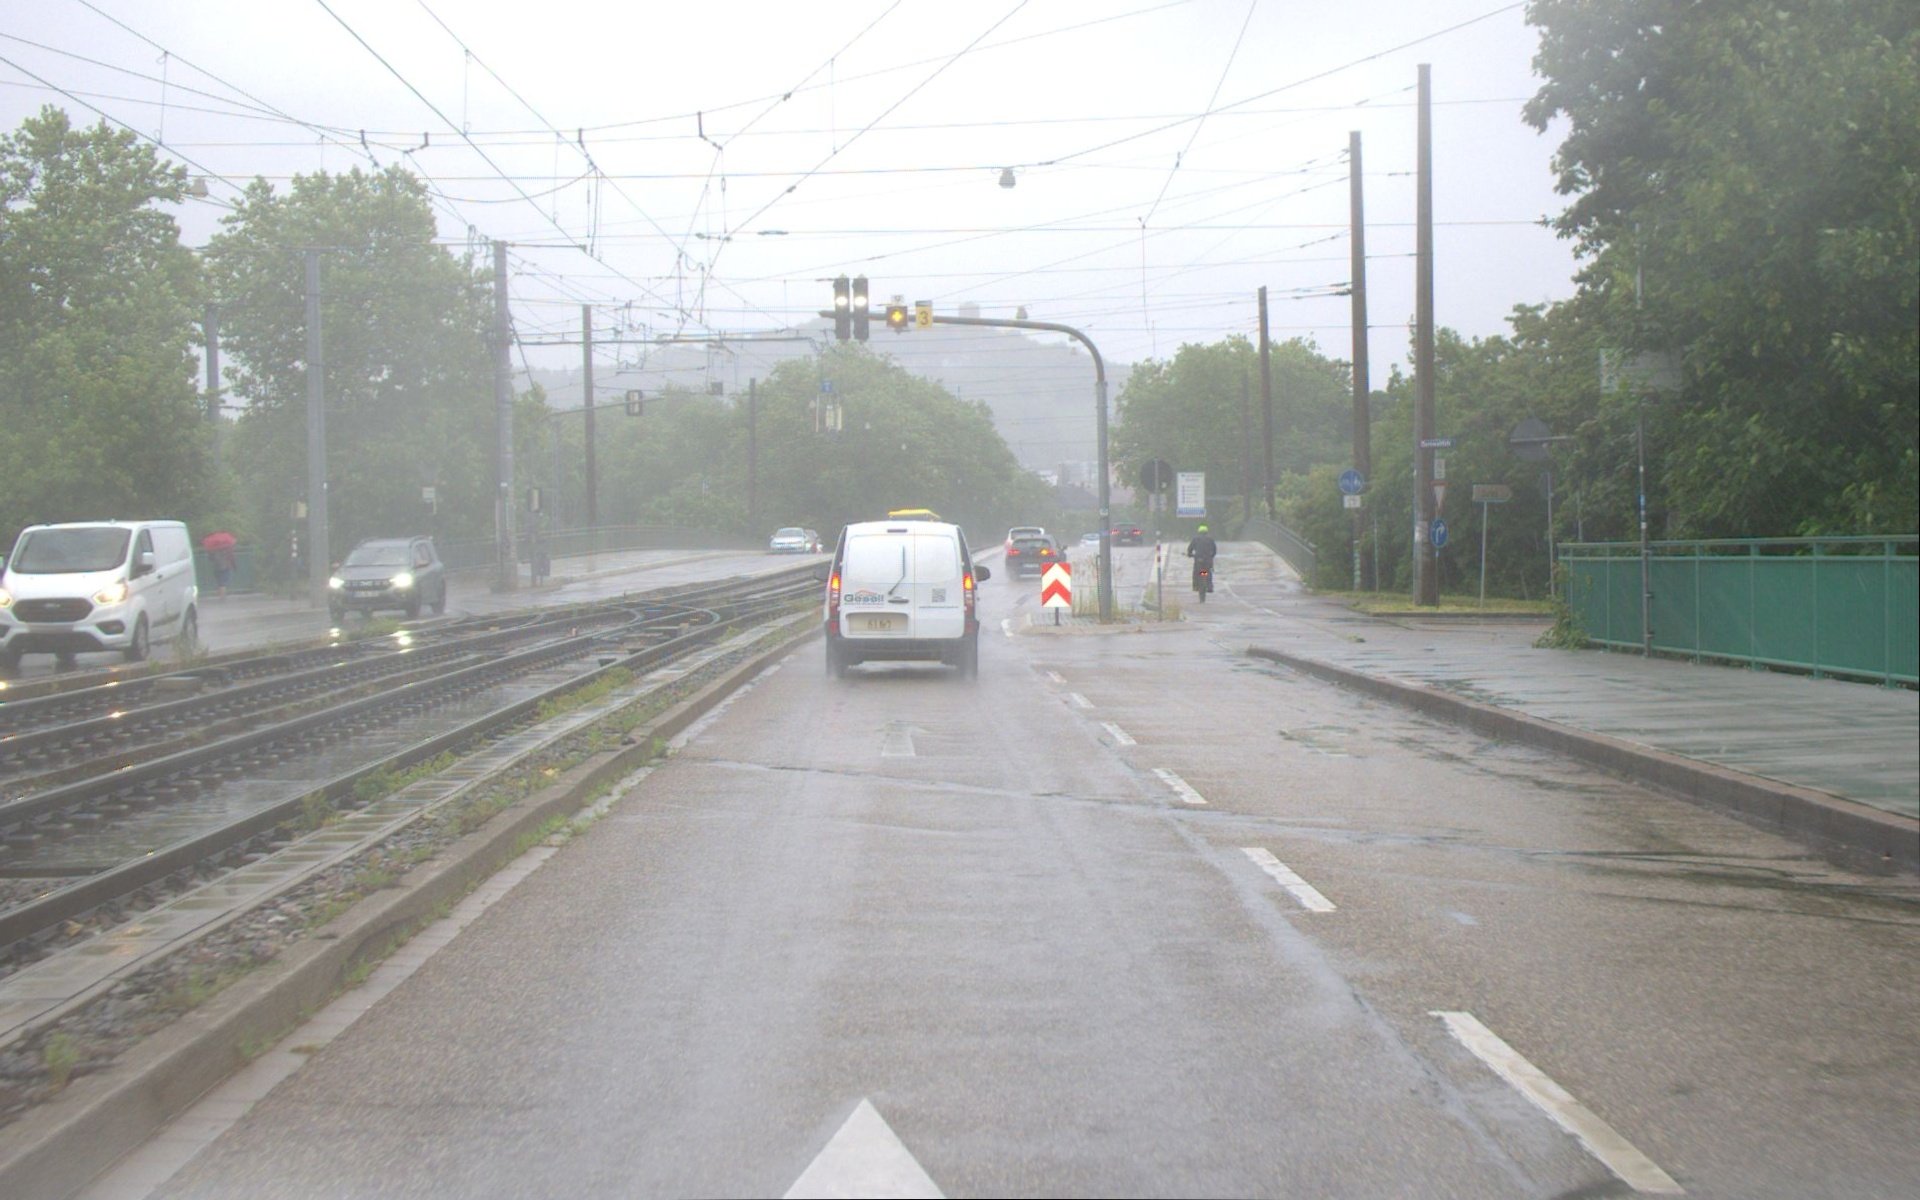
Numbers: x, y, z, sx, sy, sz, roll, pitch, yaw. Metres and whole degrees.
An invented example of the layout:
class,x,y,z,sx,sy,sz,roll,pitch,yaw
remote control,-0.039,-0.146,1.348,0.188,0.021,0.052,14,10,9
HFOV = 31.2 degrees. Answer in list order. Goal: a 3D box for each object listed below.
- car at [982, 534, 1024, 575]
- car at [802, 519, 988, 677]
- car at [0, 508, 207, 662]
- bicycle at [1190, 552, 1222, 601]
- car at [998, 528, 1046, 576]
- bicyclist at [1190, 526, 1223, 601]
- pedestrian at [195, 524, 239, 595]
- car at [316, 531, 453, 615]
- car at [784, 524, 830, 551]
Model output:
class,x,y,z,sx,sy,sz,roll,pitch,yaw
car,1.580,-1.684,127.200,1.451,1.494,2.982,1,0,-1
car,-0.706,-0.040,40.143,1.993,1.720,4.000,1,0,1
car,-12.129,-0.248,48.442,1.993,2.037,5.028,1,1,-1
bicycle,5.789,-0.565,81.047,0.723,1.125,2.167,1,1,4
car,1.987,-1.548,111.222,1.451,1.494,2.982,1,0,-1
bicyclist,5.805,-0.856,80.979,0.725,1.758,0.949,1,0,4
pedestrian,-19.184,-1.040,88.764,0.864,1.812,1.043,1,0,2
car,-11.812,-0.581,70.874,1.993,1.643,5.372,1,1,-1
car,-7.977,-3.276,179.516,1.934,1.227,4.100,-2,3,3
